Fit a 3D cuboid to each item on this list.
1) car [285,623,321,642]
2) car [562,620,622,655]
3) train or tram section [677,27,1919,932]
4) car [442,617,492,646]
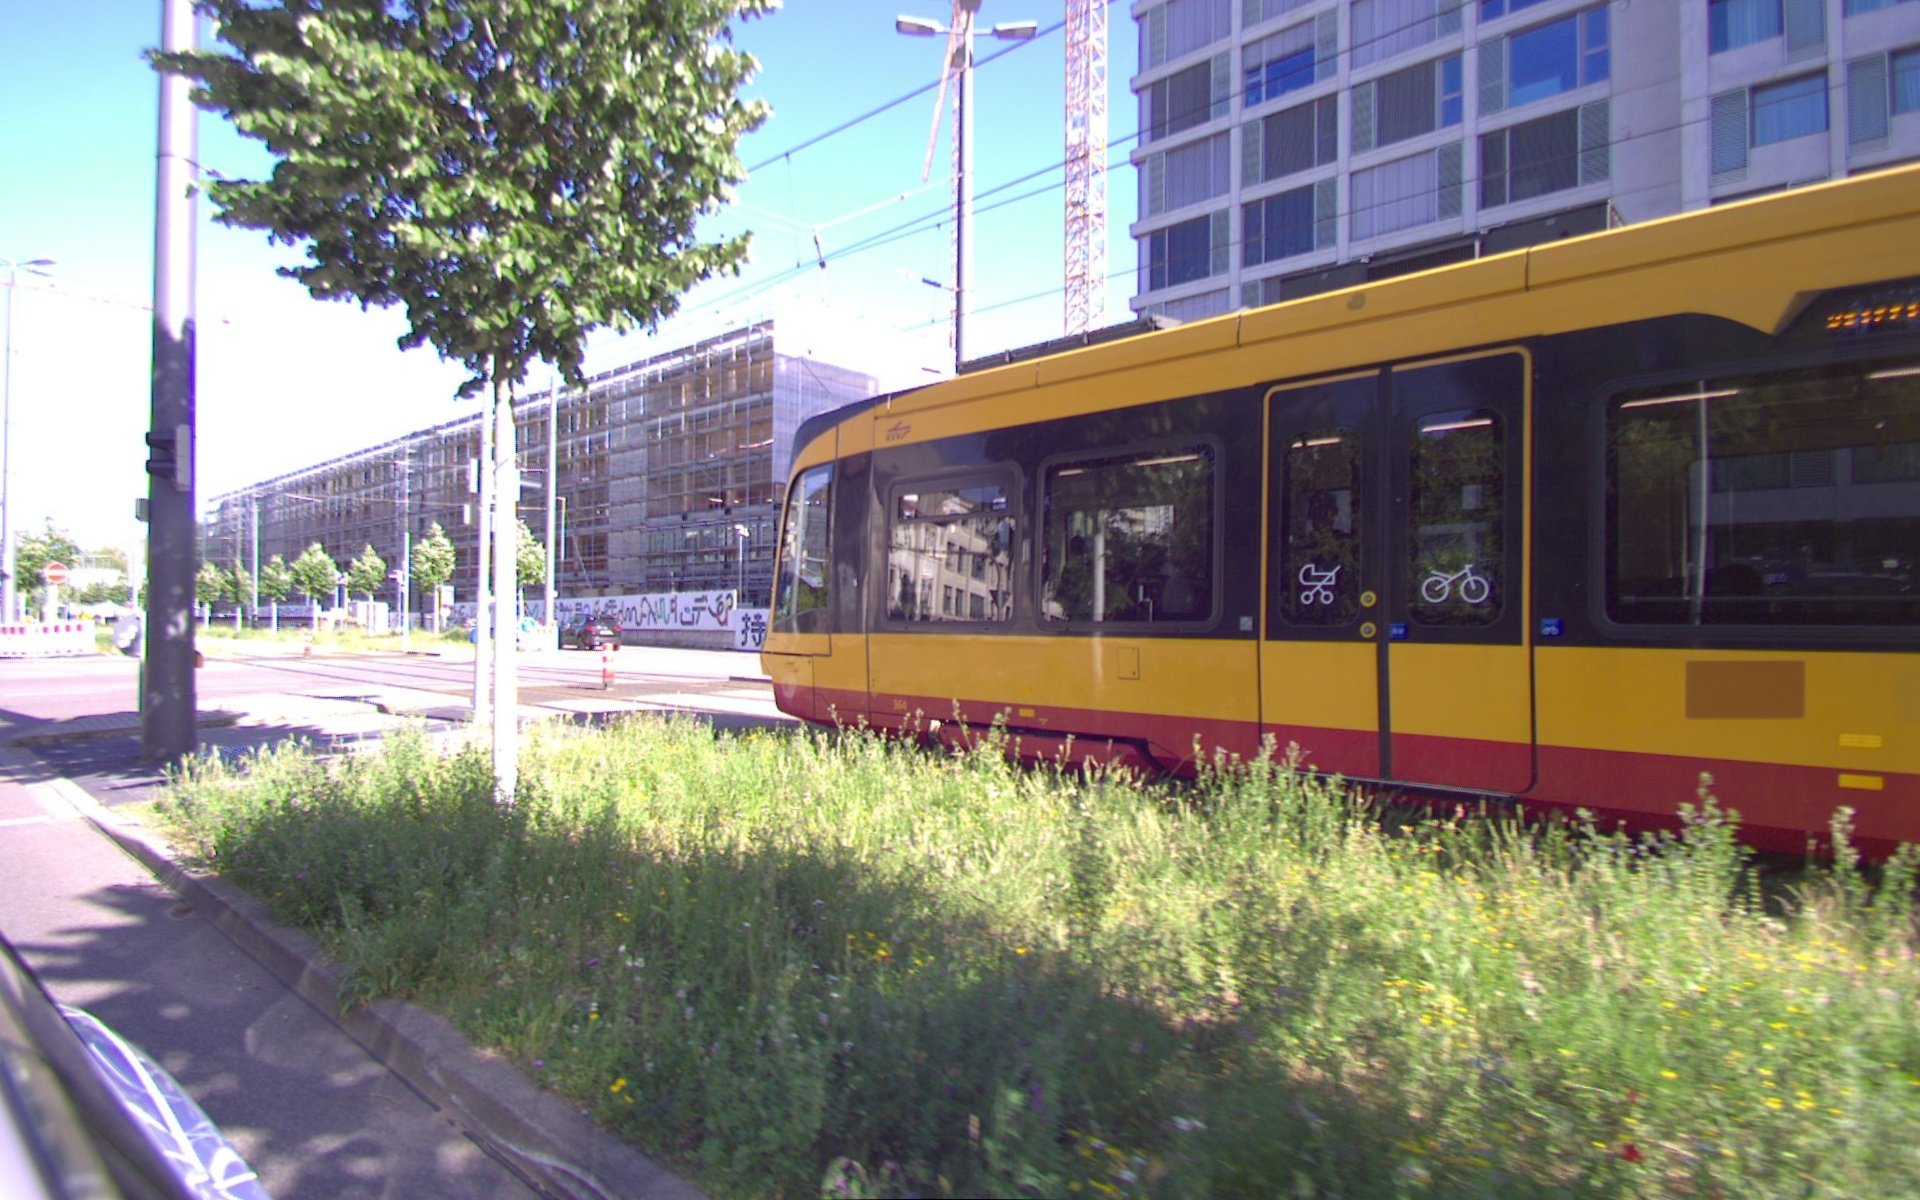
[{"bbox_3d":[-54.703,2.714,84.280,3.478,1.478,1.578,-1,0,40],"label":"car"},{"bbox_3d":[-17.098,1.699,46.943,1.700,1.508,3.583,0,0,-35],"label":"car"},{"bbox_3d":[3.010,-0.475,6.294,14.149,3.697,1.972,-1,0,42],"label":"train or tram section"},{"bbox_3d":[-29.348,1.856,60.223,1.860,1.586,4.007,0,0,-39],"label":"car"}]
